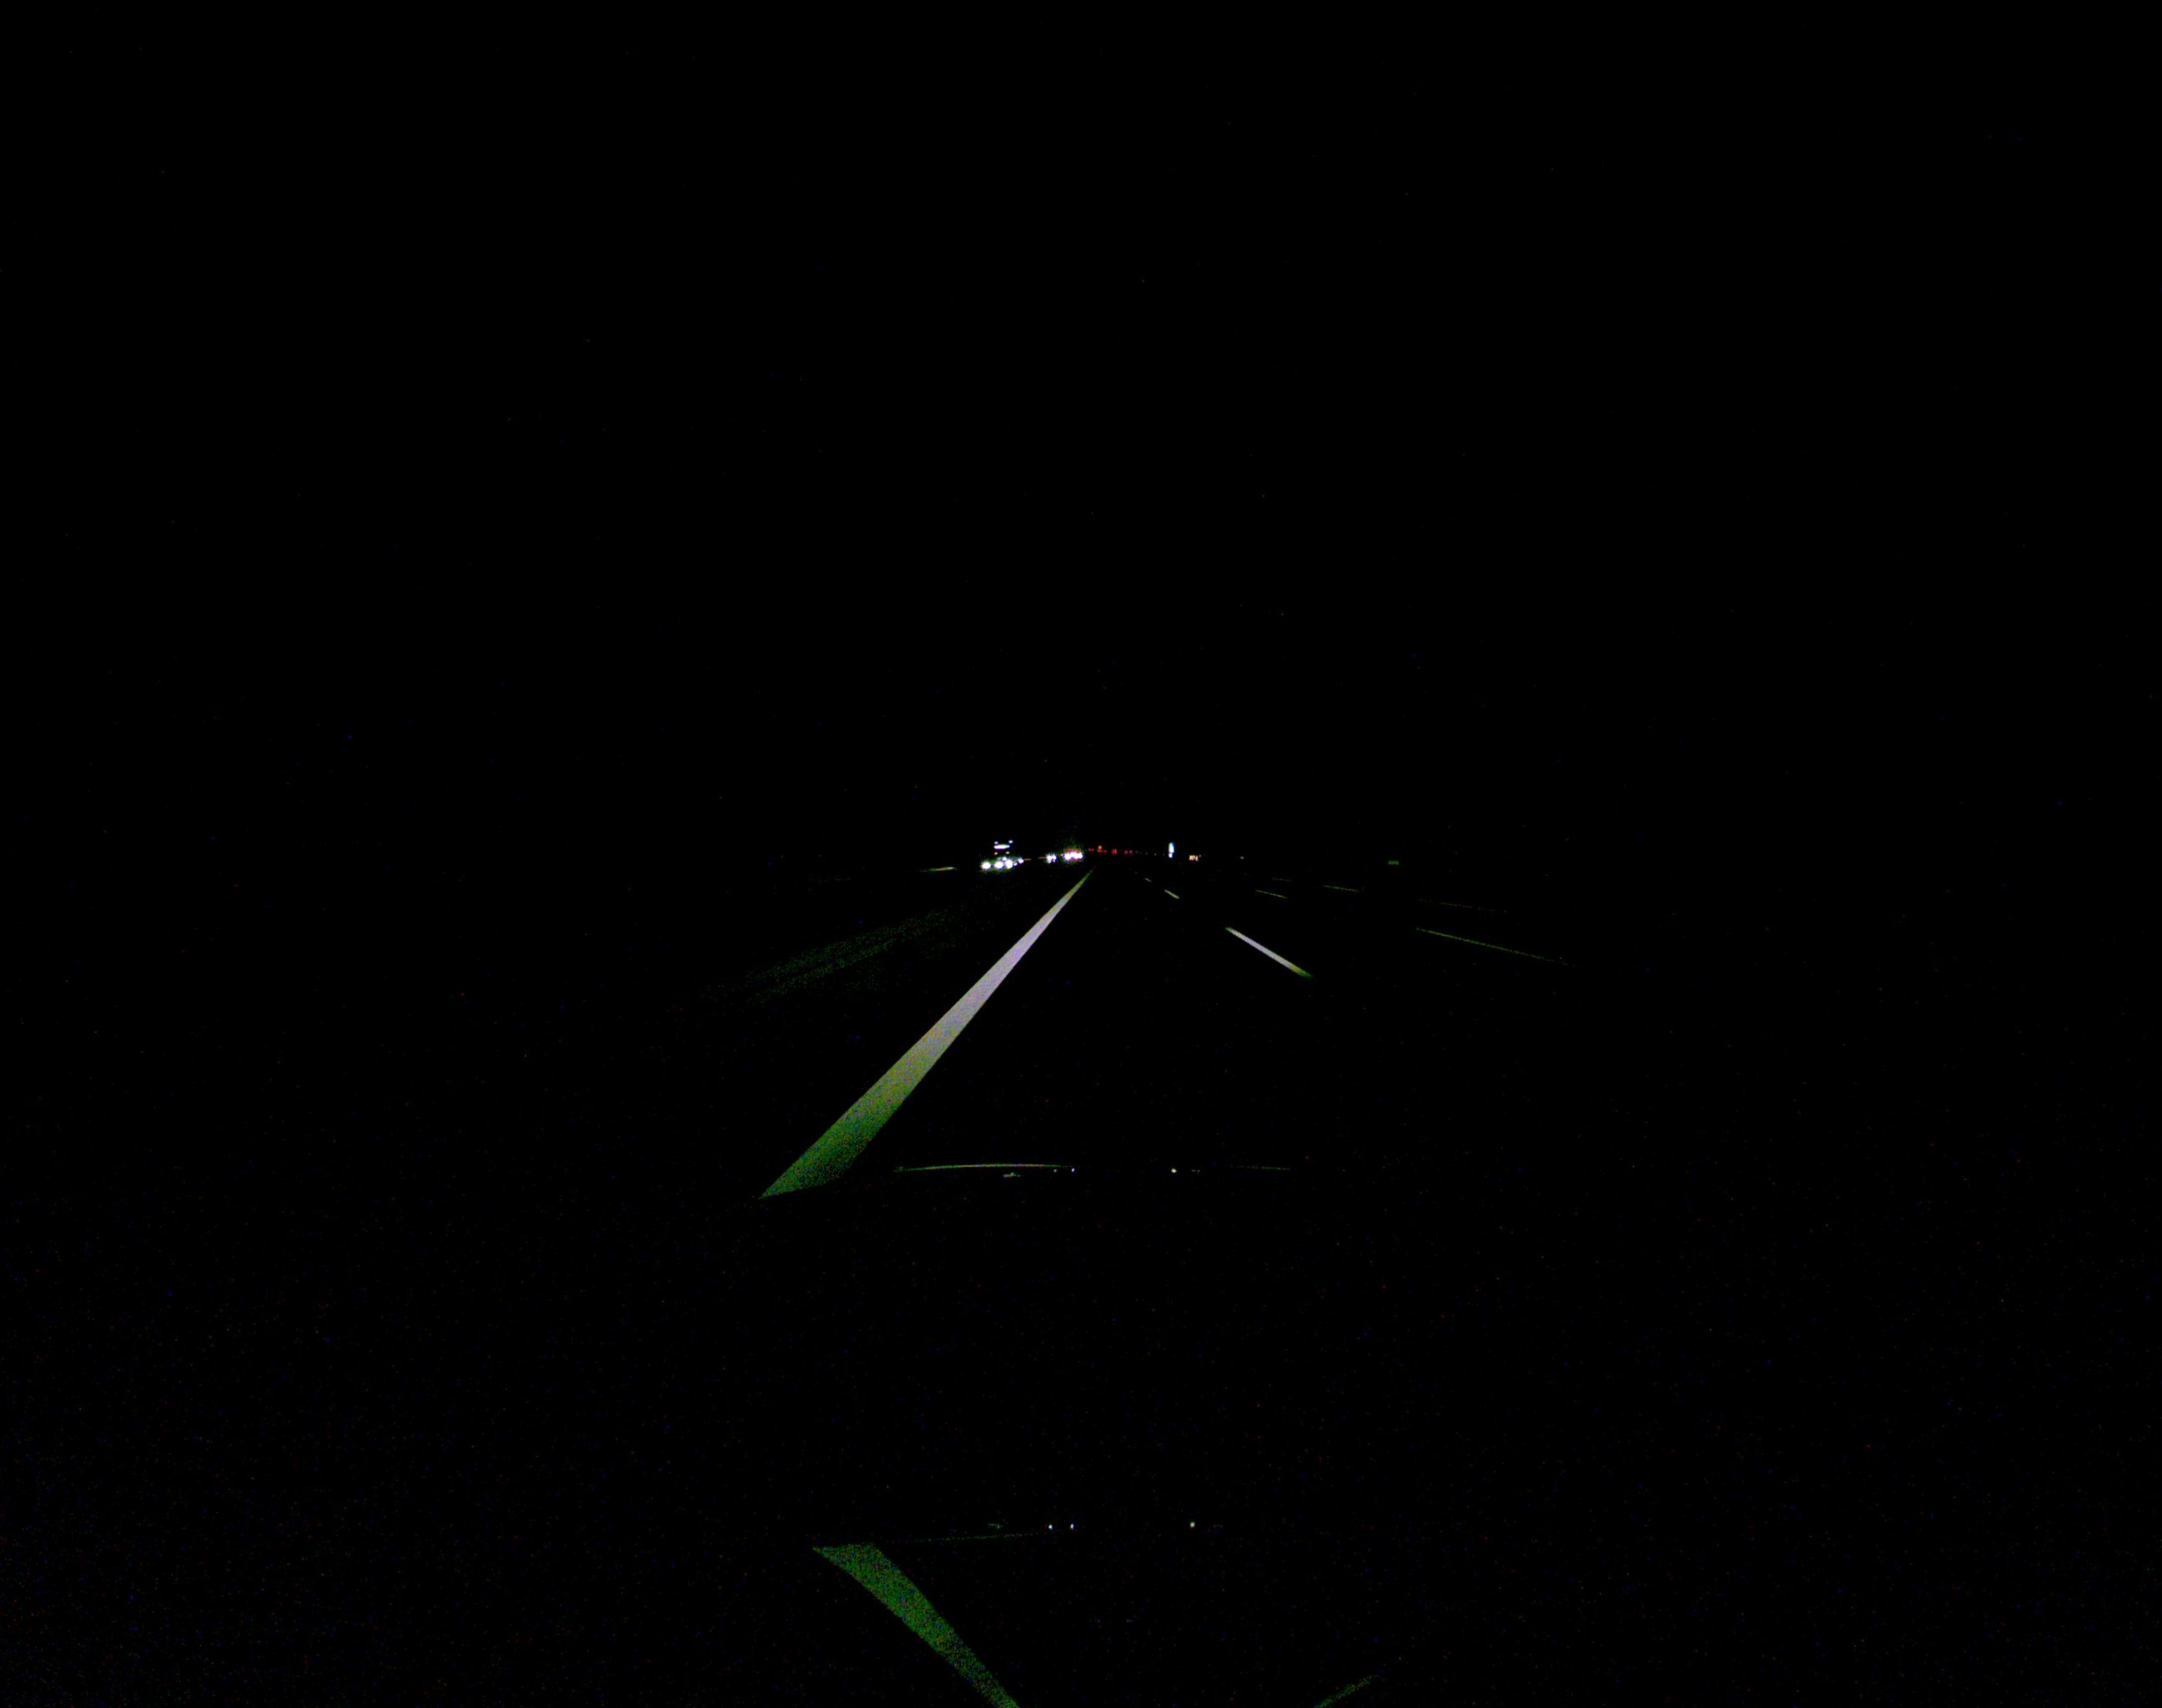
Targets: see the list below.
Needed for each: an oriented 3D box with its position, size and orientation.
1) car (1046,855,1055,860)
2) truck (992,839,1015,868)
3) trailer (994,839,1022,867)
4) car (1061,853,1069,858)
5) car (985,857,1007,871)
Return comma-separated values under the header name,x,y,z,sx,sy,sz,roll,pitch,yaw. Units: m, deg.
name,x,y,z,sx,sy,sz,roll,pitch,yaw
car,-8.842,0.974,235.984,1.986,1.485,4.803,-3,0,2
truck,-12.015,-0.046,126.619,2.744,4.212,5.827,-3,0,1
trailer,-11.851,-0.148,133.324,2.850,4.176,13.908,-3,0,1
car,-4.740,0.428,245.954,1.986,1.394,5.707,-3,0,1
car,-9.567,1.142,91.895,1.988,1.461,4.690,-3,0,-1
